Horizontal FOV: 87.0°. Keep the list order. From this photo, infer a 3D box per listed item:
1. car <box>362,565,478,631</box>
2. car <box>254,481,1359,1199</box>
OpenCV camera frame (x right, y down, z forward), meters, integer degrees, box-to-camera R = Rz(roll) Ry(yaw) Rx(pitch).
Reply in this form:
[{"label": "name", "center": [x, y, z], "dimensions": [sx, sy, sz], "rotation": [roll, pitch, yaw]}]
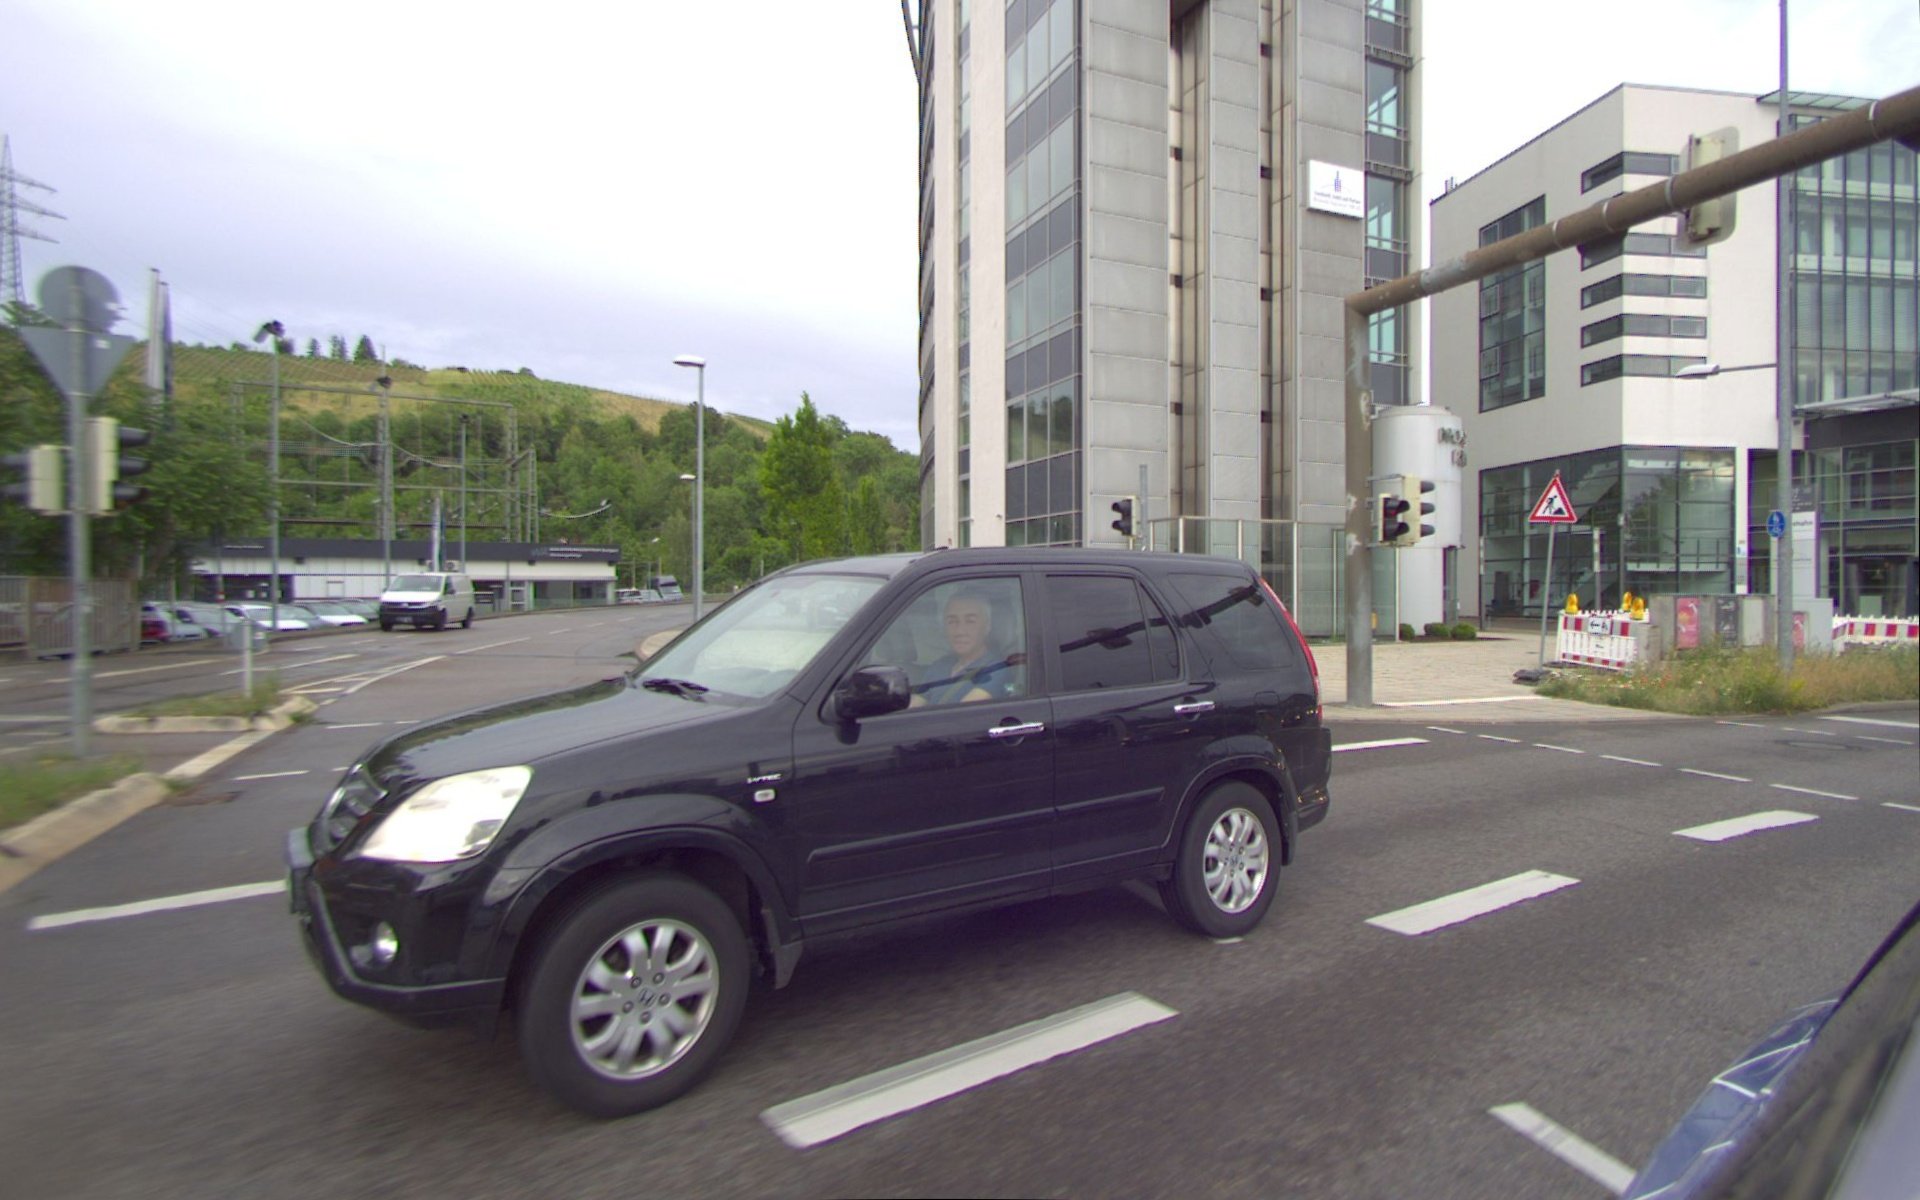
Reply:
[{"label": "car", "center": [-18.245, -0.042, 34.487], "dimensions": [1.959, 1.940, 5.090], "rotation": [4, -1, -11]}, {"label": "car", "center": [-0.379, 0.574, 4.268], "dimensions": [4.242, 1.651, 1.771], "rotation": [0, -2, -35]}]
